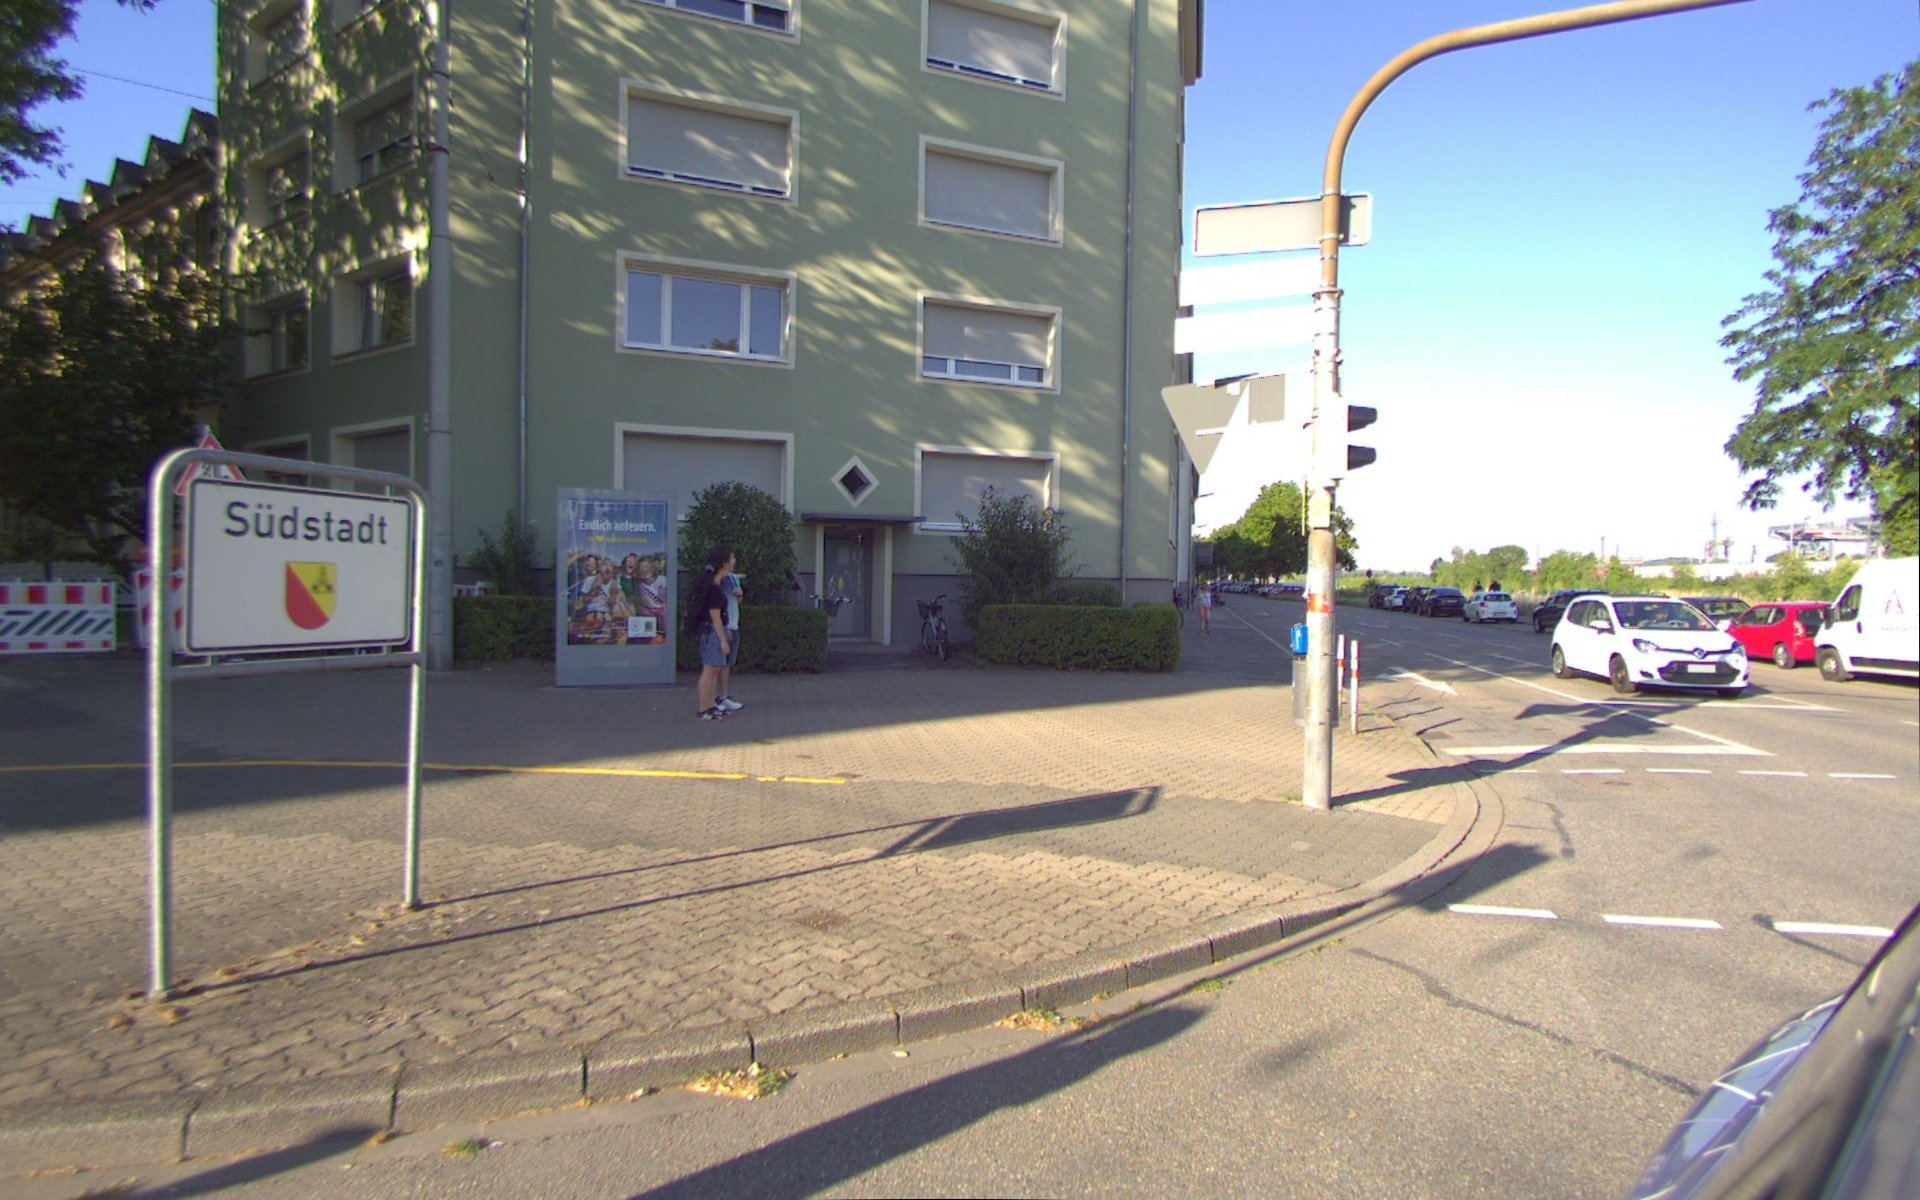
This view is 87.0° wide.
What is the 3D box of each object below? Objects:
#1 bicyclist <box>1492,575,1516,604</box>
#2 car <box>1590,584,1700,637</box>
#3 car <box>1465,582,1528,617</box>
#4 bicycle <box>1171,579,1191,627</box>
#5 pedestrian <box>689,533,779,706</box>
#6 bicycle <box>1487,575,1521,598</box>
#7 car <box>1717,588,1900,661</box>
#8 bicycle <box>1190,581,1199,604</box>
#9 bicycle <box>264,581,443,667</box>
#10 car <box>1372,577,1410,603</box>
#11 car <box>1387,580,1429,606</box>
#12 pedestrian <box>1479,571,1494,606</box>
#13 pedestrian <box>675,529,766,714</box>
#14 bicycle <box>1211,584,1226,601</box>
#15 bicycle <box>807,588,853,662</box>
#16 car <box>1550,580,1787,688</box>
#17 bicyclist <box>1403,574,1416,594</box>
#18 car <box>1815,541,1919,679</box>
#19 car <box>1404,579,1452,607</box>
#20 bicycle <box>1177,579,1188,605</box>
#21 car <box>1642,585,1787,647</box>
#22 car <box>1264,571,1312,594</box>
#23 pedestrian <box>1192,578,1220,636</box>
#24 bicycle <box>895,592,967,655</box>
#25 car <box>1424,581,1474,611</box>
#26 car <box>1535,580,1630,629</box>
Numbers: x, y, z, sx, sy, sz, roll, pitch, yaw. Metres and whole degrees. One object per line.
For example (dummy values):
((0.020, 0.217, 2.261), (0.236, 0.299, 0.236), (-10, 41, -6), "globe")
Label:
((30.034, -0.585, 55.857), (0.853, 1.616, 1.142), (1, 1, 11), "bicyclist")
((21.676, 0.284, 32.173), (1.639, 1.549, 3.567), (1, 1, 12), "car")
((24.920, -0.037, 47.111), (1.682, 1.545, 3.569), (1, 1, 13), "car")
((6.806, 0.062, 31.199), (0.509, 1.429, 1.869), (1, 1, 9), "bicycle")
((-2.388, 0.194, 10.767), (0.780, 1.772, 0.693), (0, 1, 3), "pedestrian")
((30.057, -0.754, 55.956), (0.925, 1.203, 2.475), (1, 1, 11), "bicycle")
((19.733, 0.504, 23.740), (1.719, 1.505, 3.682), (1, 1, 12), "car")
((14.164, -0.453, 61.128), (0.510, 1.342, 2.201), (1, 1, 14), "bicycle")
((-7.720, 0.295, 12.941), (1.894, 1.070, 0.522), (0, 1, -12), "bicycle")
((30.726, -0.745, 72.266), (1.865, 1.798, 4.201), (1, 1, 14), "car")
((29.395, -0.489, 66.555), (1.798, 1.594, 4.202), (1, 1, 14), "car")
((30.757, -0.677, 59.117), (0.606, 2.039, 0.728), (1, 1, 11), "pedestrian")
((-2.357, 0.200, 10.036), (0.779, 1.772, 0.694), (0, 1, -5), "pedestrian")
((18.134, -0.542, 70.977), (0.639, 1.111, 2.201), (1, 1, 4), "bicycle")
((-2.080, 0.361, 16.045), (0.510, 1.070, 1.938), (0, 1, -14), "bicycle")
((11.051, 0.431, 16.123), (1.679, 1.487, 3.763), (1, 1, 11), "car")
((35.833, -1.278, 80.695), (0.758, 1.616, 1.141), (1, 1, 14), "bicyclist")
((18.103, 0.141, 17.760), (2.201, 2.467, 5.544), (-2, 1, 11), "car")
((28.297, -0.453, 61.294), (1.798, 1.658, 4.202), (1, 1, 14), "car")
((12.426, -0.436, 56.489), (0.509, 1.429, 1.869), (1, 1, 9), "bicycle")
((20.714, 0.378, 27.982), (1.719, 1.549, 3.803), (1, 1, 12), "car")
((39.665, -2.141, 122.626), (5.245, 2.442, 2.258), (-3, 0, 13), "car")
((7.584, 0.188, 31.191), (0.776, 1.728, 0.946), (1, 2, 13), "pedestrian")
((-0.544, 0.390, 18.056), (0.633, 1.015, 1.852), (0, 1, -24), "bicycle")
((26.881, -0.252, 55.793), (1.800, 1.545, 4.267), (1, 1, 17), "car")
((22.493, 0.118, 36.710), (1.639, 1.680, 3.992), (1, 1, 12), "car")
